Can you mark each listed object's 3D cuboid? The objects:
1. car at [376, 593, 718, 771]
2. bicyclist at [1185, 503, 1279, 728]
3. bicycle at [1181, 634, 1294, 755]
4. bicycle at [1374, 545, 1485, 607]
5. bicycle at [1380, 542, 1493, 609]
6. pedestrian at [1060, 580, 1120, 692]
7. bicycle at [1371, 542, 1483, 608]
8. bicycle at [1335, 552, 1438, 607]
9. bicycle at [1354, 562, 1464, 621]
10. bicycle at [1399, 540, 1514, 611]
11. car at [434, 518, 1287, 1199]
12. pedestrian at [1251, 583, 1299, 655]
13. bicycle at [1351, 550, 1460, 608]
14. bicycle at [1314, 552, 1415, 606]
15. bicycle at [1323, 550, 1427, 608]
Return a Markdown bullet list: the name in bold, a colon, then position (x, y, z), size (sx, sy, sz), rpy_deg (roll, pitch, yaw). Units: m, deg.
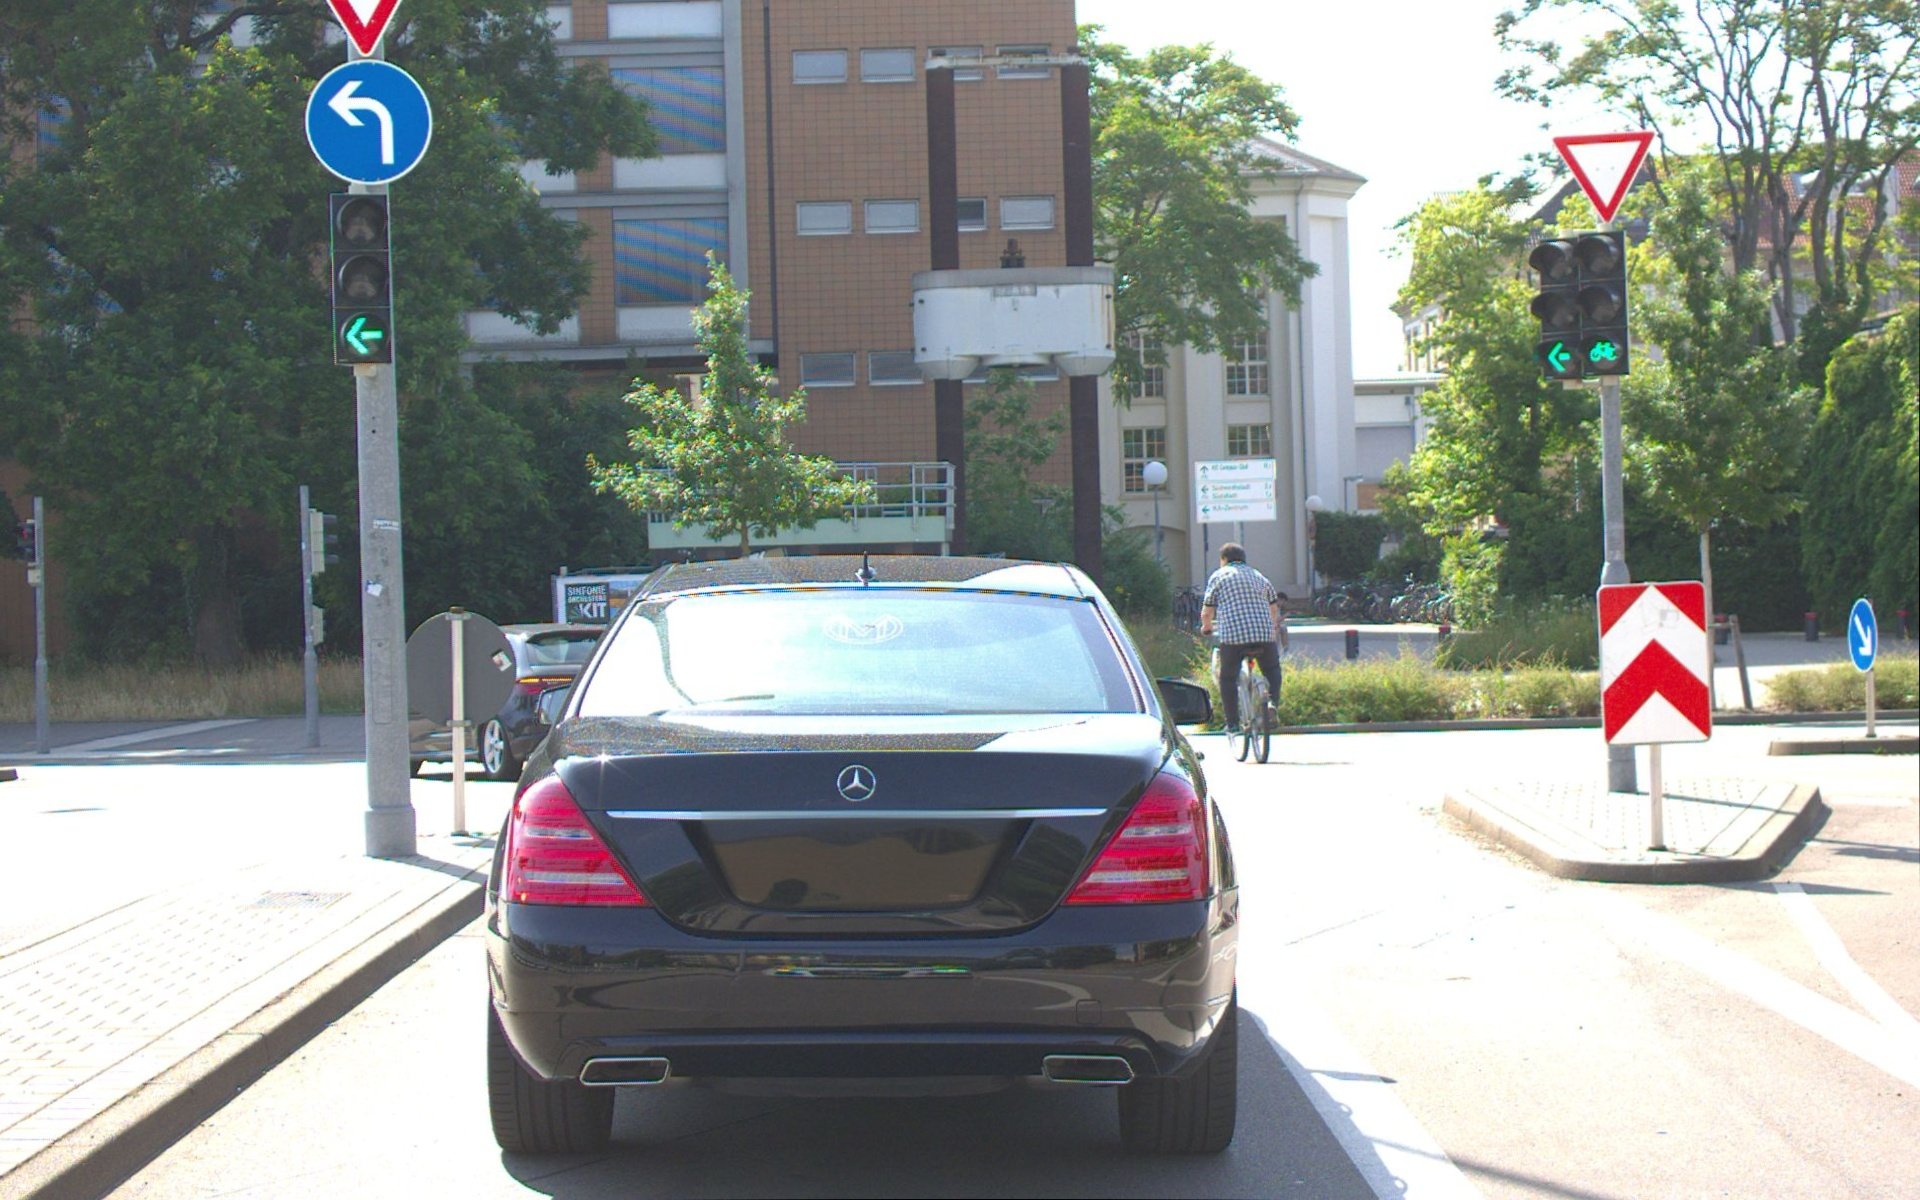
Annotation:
- **car**: position (-3.880, 0.760, 31.729), size (1.794, 1.505, 4.000), rpy_deg (-1, -1, -28)
- **bicyclist**: position (2.292, 0.130, 29.042), size (0.686, 1.872, 0.860), rpy_deg (0, 0, -2)
- **bicycle**: position (2.311, 0.772, 28.815), size (0.692, 0.943, 1.958), rpy_deg (1, 0, -3)
- **bicycle**: position (12.659, -0.655, 92.752), size (2.823, 1.581, 0.842), rpy_deg (-2, 0, -1)
- **bicycle**: position (12.543, -0.647, 90.565), size (2.823, 1.643, 0.842), rpy_deg (-2, 0, -1)
- **pedestrian**: position (1.855, 0.513, 49.114), size (0.811, 1.574, 0.692), rpy_deg (-2, 0, 2)
- **bicycle**: position (12.460, -0.664, 91.750), size (2.823, 1.653, 0.842), rpy_deg (-2, 2, -1)
- **bicycle**: position (12.383, -0.609, 99.922), size (2.823, 1.495, 0.842), rpy_deg (-2, 0, -1)
- **bicycle**: position (12.242, -0.236, 93.757), size (2.823, 1.532, 0.842), rpy_deg (-2, 0, -1)
- **bicycle**: position (12.877, -0.643, 89.223), size (2.823, 1.738, 0.842), rpy_deg (-2, 0, -1)
- **car**: position (-0.234, 0.581, 9.887), size (1.858, 1.525, 4.714), rpy_deg (0, 0, 0)
- **pedestrian**: position (5.439, 0.325, 59.289), size (0.793, 1.209, 0.757), rpy_deg (1, 0, 6)
- **bicycle**: position (12.269, -0.573, 94.709), size (2.823, 1.502, 0.842), rpy_deg (-2, 0, -1)
- **bicycle**: position (11.953, -0.623, 101.665), size (2.823, 1.475, 0.841), rpy_deg (-2, 0, 0)
- **bicycle**: position (11.812, -0.589, 97.861), size (2.823, 1.553, 0.842), rpy_deg (-2, 0, -1)
